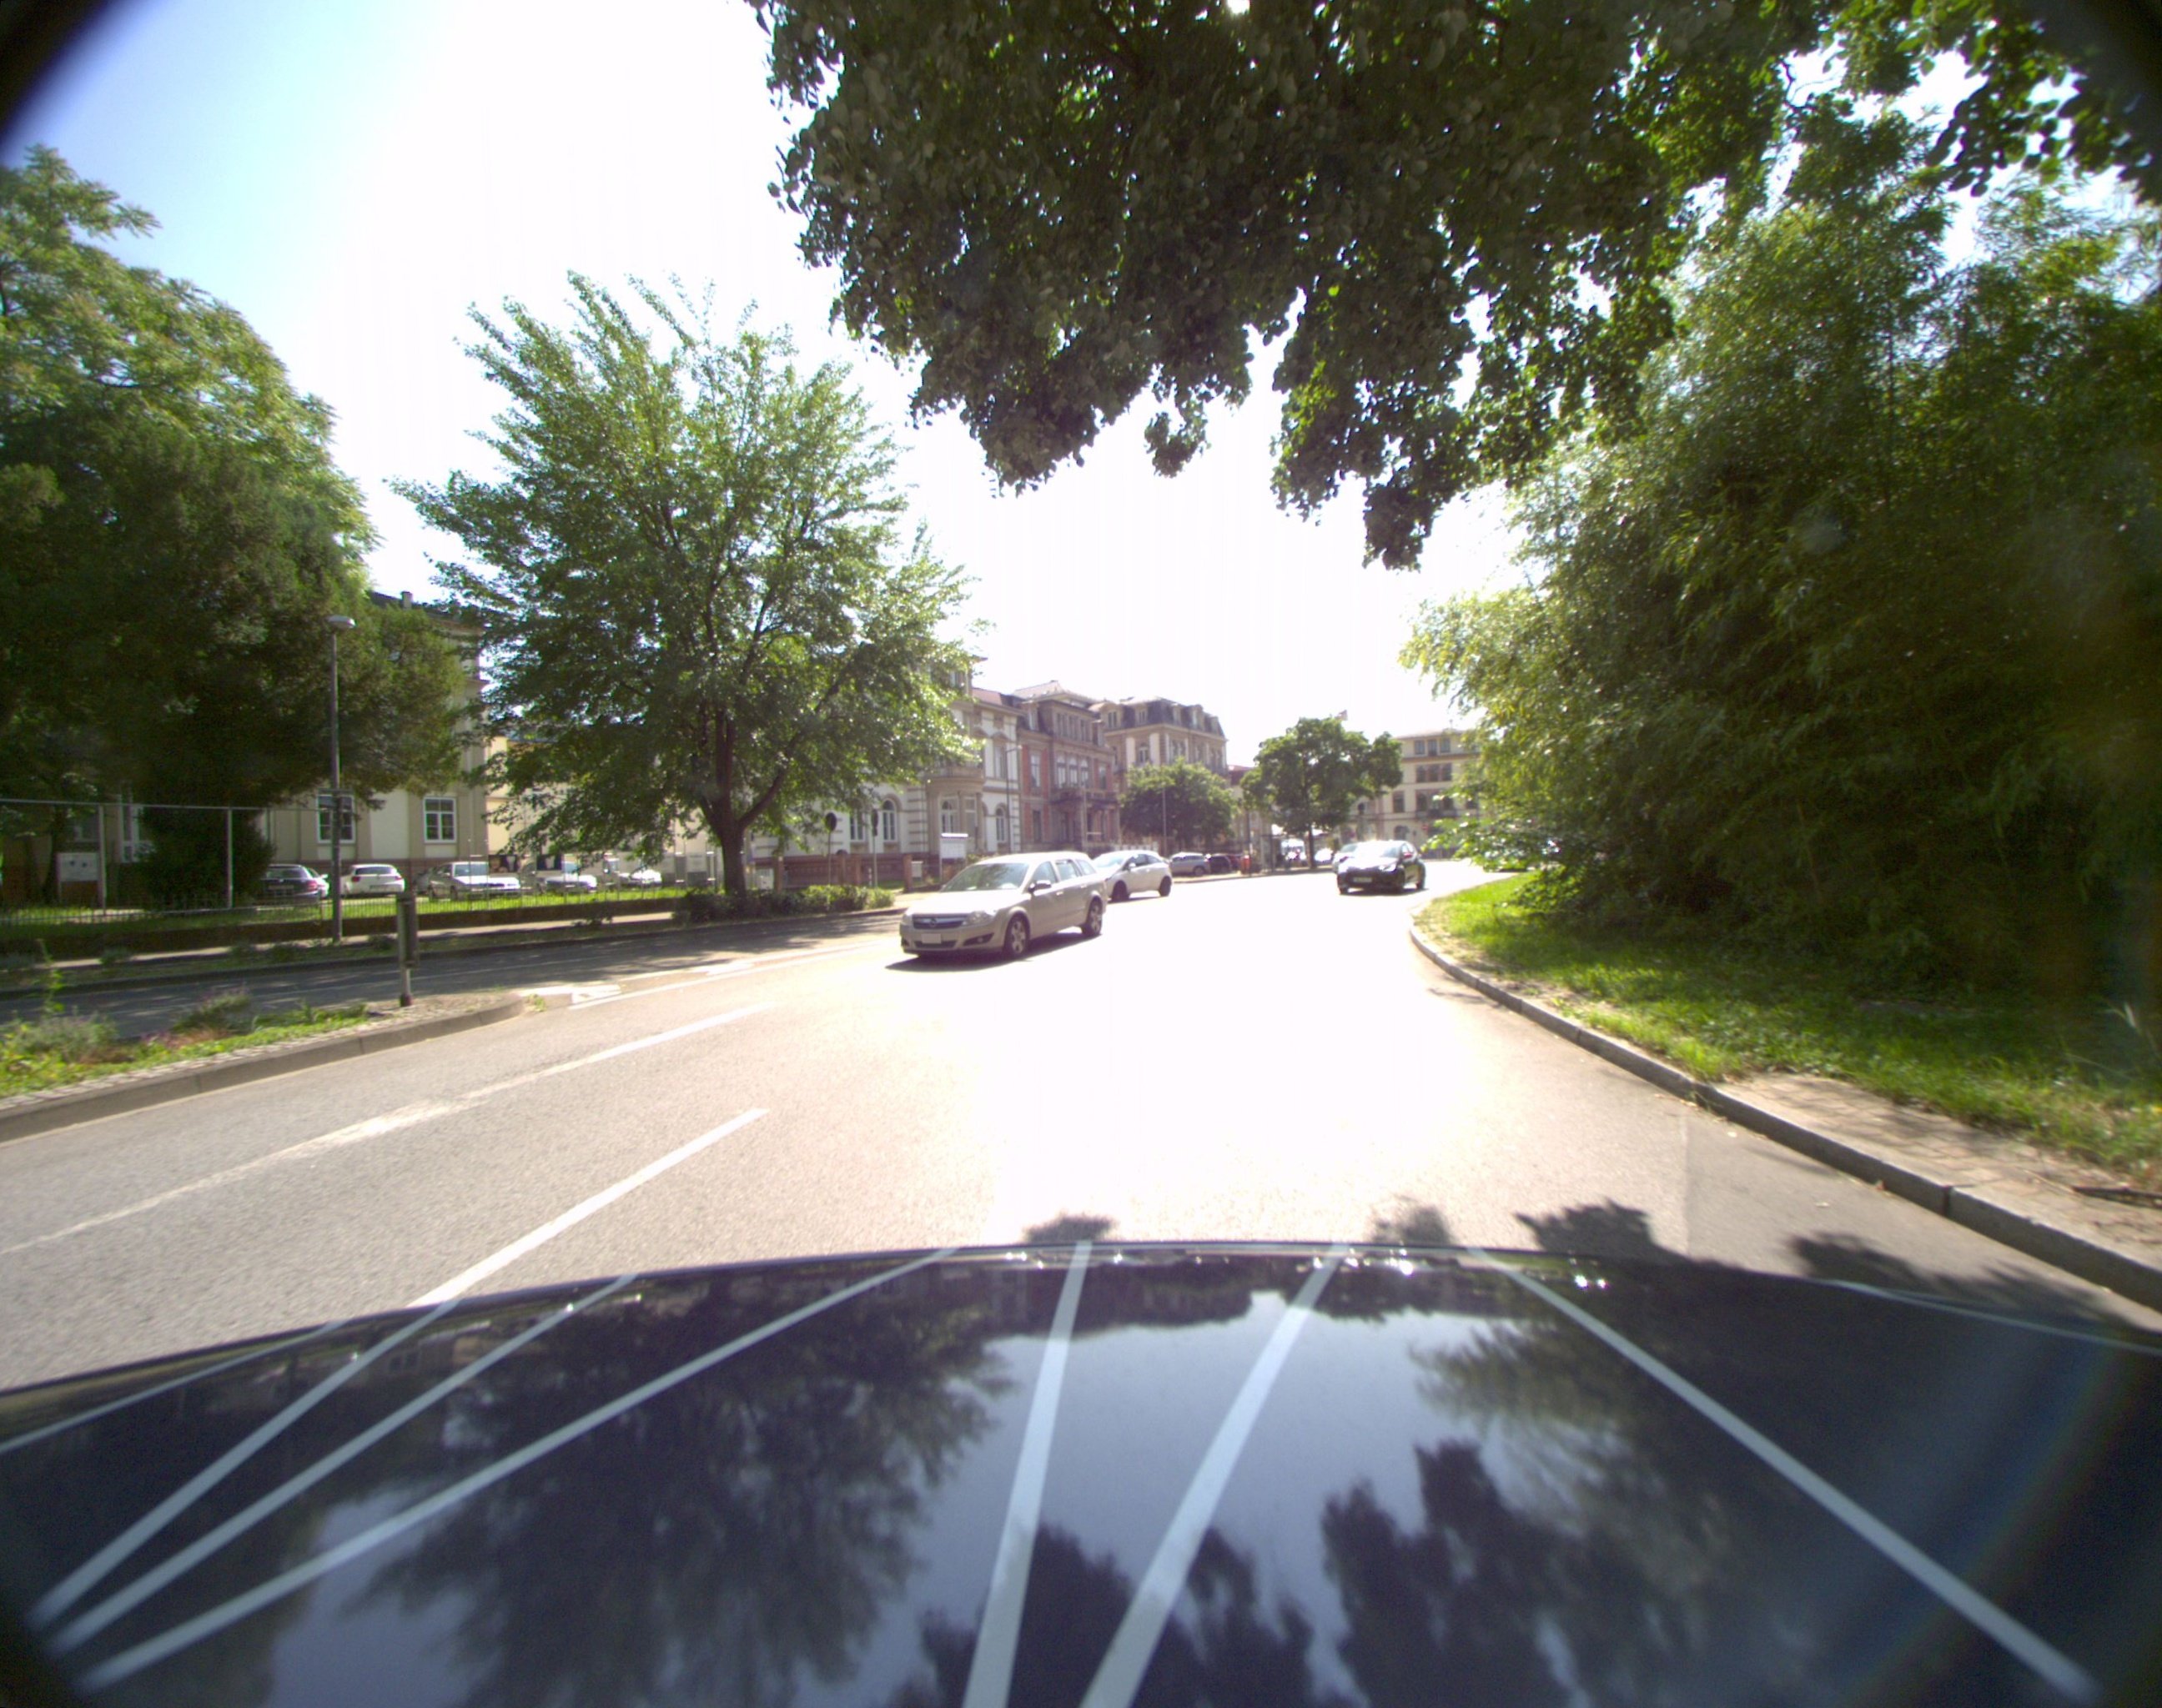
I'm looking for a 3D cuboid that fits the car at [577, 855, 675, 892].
[{"bbox_3d":[-17.741,0.765,29.576,4.042,1.328,1.864,-2,0,37],"label":"car"}]

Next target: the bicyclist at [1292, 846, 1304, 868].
[{"bbox_3d":[16.541,0.216,57.886,0.592,1.597,0.685,-2,0,38],"label":"bicyclist"}]

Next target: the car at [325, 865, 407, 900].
[{"bbox_3d":[-30.226,1.193,32.090,4.078,1.328,1.825,-2,0,37],"label":"car"}]

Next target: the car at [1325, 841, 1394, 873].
[{"bbox_3d":[14.310,0.108,38.915,1.787,1.503,4.289,0,1,43],"label":"car"}]

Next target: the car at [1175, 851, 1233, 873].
[{"bbox_3d":[8.851,0.602,54.915,3.820,1.409,1.605,-3,0,-7],"label":"car"}]

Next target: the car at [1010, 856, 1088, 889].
[{"bbox_3d":[-1.696,0.927,39.417,3.812,1.502,1.712,-3,0,-10],"label":"car"}]

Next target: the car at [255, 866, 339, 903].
[{"bbox_3d":[-31.373,1.195,30.379,4.042,1.328,1.825,-2,0,37],"label":"car"}]

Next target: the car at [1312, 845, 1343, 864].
[{"bbox_3d":[23.227,0.003,71.506,1.818,1.616,4.889,-3,0,29],"label":"car"}]

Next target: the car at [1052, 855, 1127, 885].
[{"bbox_3d":[0.445,0.884,42.115,3.813,1.433,1.712,-3,0,-13],"label":"car"}]

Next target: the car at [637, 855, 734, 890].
[{"bbox_3d":[-16.409,0.765,31.477,4.042,1.328,1.995,-2,0,37],"label":"car"}]

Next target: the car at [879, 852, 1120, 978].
[{"bbox_3d":[-1.044,0.812,12.216,1.716,1.491,4.497,-1,1,25],"label":"car"}]

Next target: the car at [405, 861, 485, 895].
[{"bbox_3d":[-28.437,1.065,33.941,4.051,1.411,1.825,-2,0,37],"label":"car"}]

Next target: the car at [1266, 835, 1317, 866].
[{"bbox_3d":[18.790,-0.259,68.093,2.001,2.588,5.313,-3,0,-13],"label":"car"}]

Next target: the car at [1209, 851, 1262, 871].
[{"bbox_3d":[12.354,0.525,60.814,3.700,1.410,1.748,-3,0,-7],"label":"car"}]

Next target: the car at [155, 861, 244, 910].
[{"bbox_3d":[-32.435,1.140,27.933,4.310,1.594,1.825,-2,0,37],"label":"car"}]

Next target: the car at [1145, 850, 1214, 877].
[{"bbox_3d":[6.680,0.639,51.799,4.316,1.620,1.712,-3,0,-11],"label":"car"}]

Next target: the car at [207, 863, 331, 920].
[{"bbox_3d":[-23.951,1.073,22.381,4.145,1.467,1.881,-2,0,35],"label":"car"}]

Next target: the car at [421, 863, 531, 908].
[{"bbox_3d":[-20.609,1.046,25.819,4.468,1.328,1.825,-2,0,37],"label":"car"}]

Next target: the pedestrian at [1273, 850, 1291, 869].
[{"bbox_3d":[12.700,0.335,48.057,1.019,1.190,0.793,-2,0,19],"label":"pedestrian"}]

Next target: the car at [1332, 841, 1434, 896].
[{"bbox_3d":[9.007,0.367,22.464,1.787,1.443,4.289,-1,1,36],"label":"car"}]

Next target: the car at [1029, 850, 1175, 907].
[{"bbox_3d":[0.758,0.657,22.654,1.994,1.429,4.761,-1,0,36],"label":"car"}]

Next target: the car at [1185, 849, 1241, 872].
[{"bbox_3d":[10.114,0.517,58.303,3.877,1.566,1.749,-3,0,-7],"label":"car"}]

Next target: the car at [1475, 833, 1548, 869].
[{"bbox_3d":[19.465,-0.149,34.283,4.096,1.484,1.787,-2,1,-44],"label":"car"}]

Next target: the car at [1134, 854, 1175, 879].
[{"bbox_3d":[4.721,0.795,48.803,2.290,1.474,1.200,-3,0,-17],"label":"car"}]

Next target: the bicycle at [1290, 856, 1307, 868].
[{"bbox_3d":[16.552,0.585,57.882,0.592,0.850,1.748,-2,0,38],"label":"bicycle"}]

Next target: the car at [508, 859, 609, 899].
[{"bbox_3d":[-19.167,0.906,27.827,4.087,1.328,1.825,-2,0,37],"label":"car"}]
